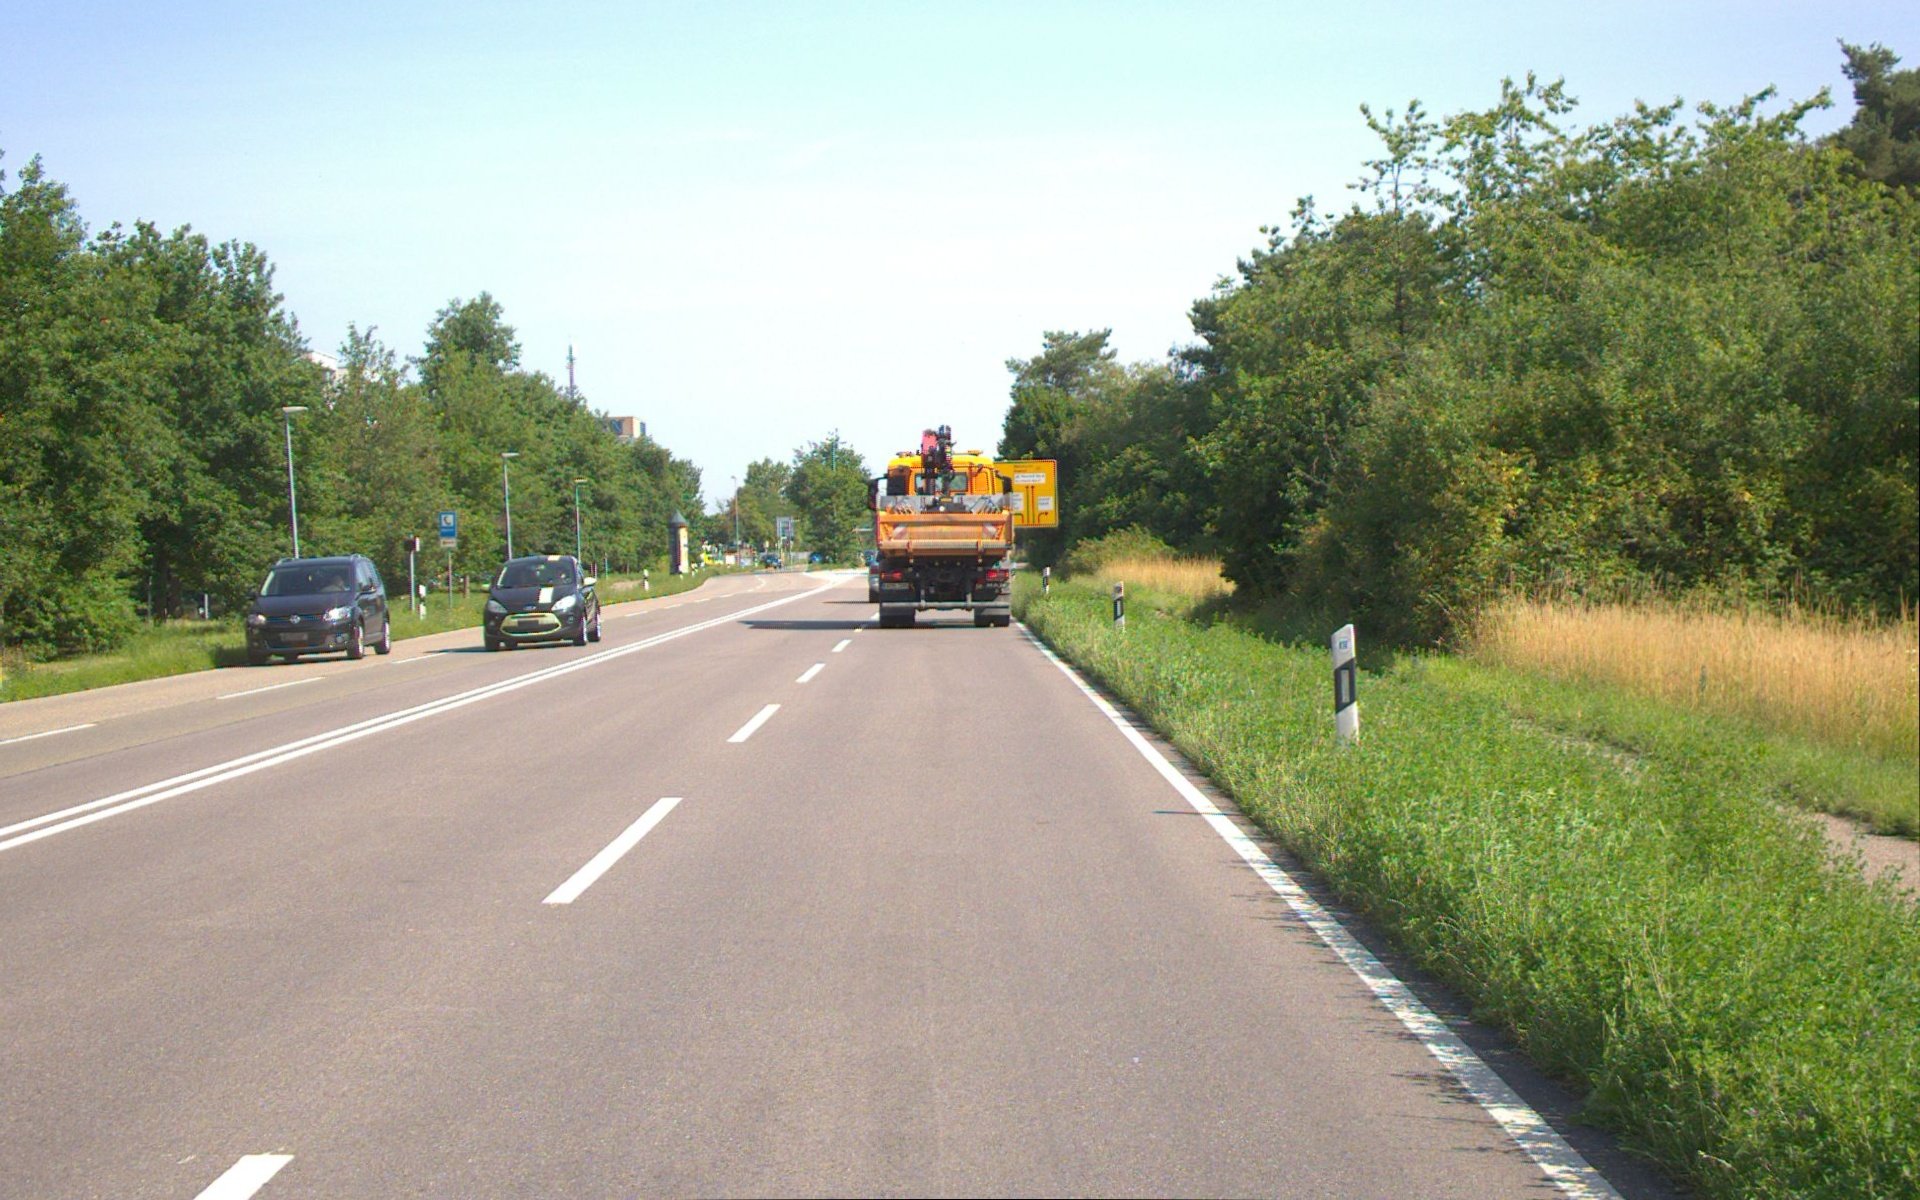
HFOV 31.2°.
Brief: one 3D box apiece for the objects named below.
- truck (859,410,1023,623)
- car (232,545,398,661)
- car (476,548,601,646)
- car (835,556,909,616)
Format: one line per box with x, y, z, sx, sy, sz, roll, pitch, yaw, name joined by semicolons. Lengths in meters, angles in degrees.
-0.457;-1.583;66.594;2.871;3.867;7.401;0;1;-2;truck
-10.248;0.013;54.887;1.825;1.666;4.390;-3;1;-1;car
-6.851;-0.079;56.126;1.517;1.445;3.775;-3;1;0;car
-2.470;-0.404;95.931;1.993;1.578;4.001;-1;1;-2;car
